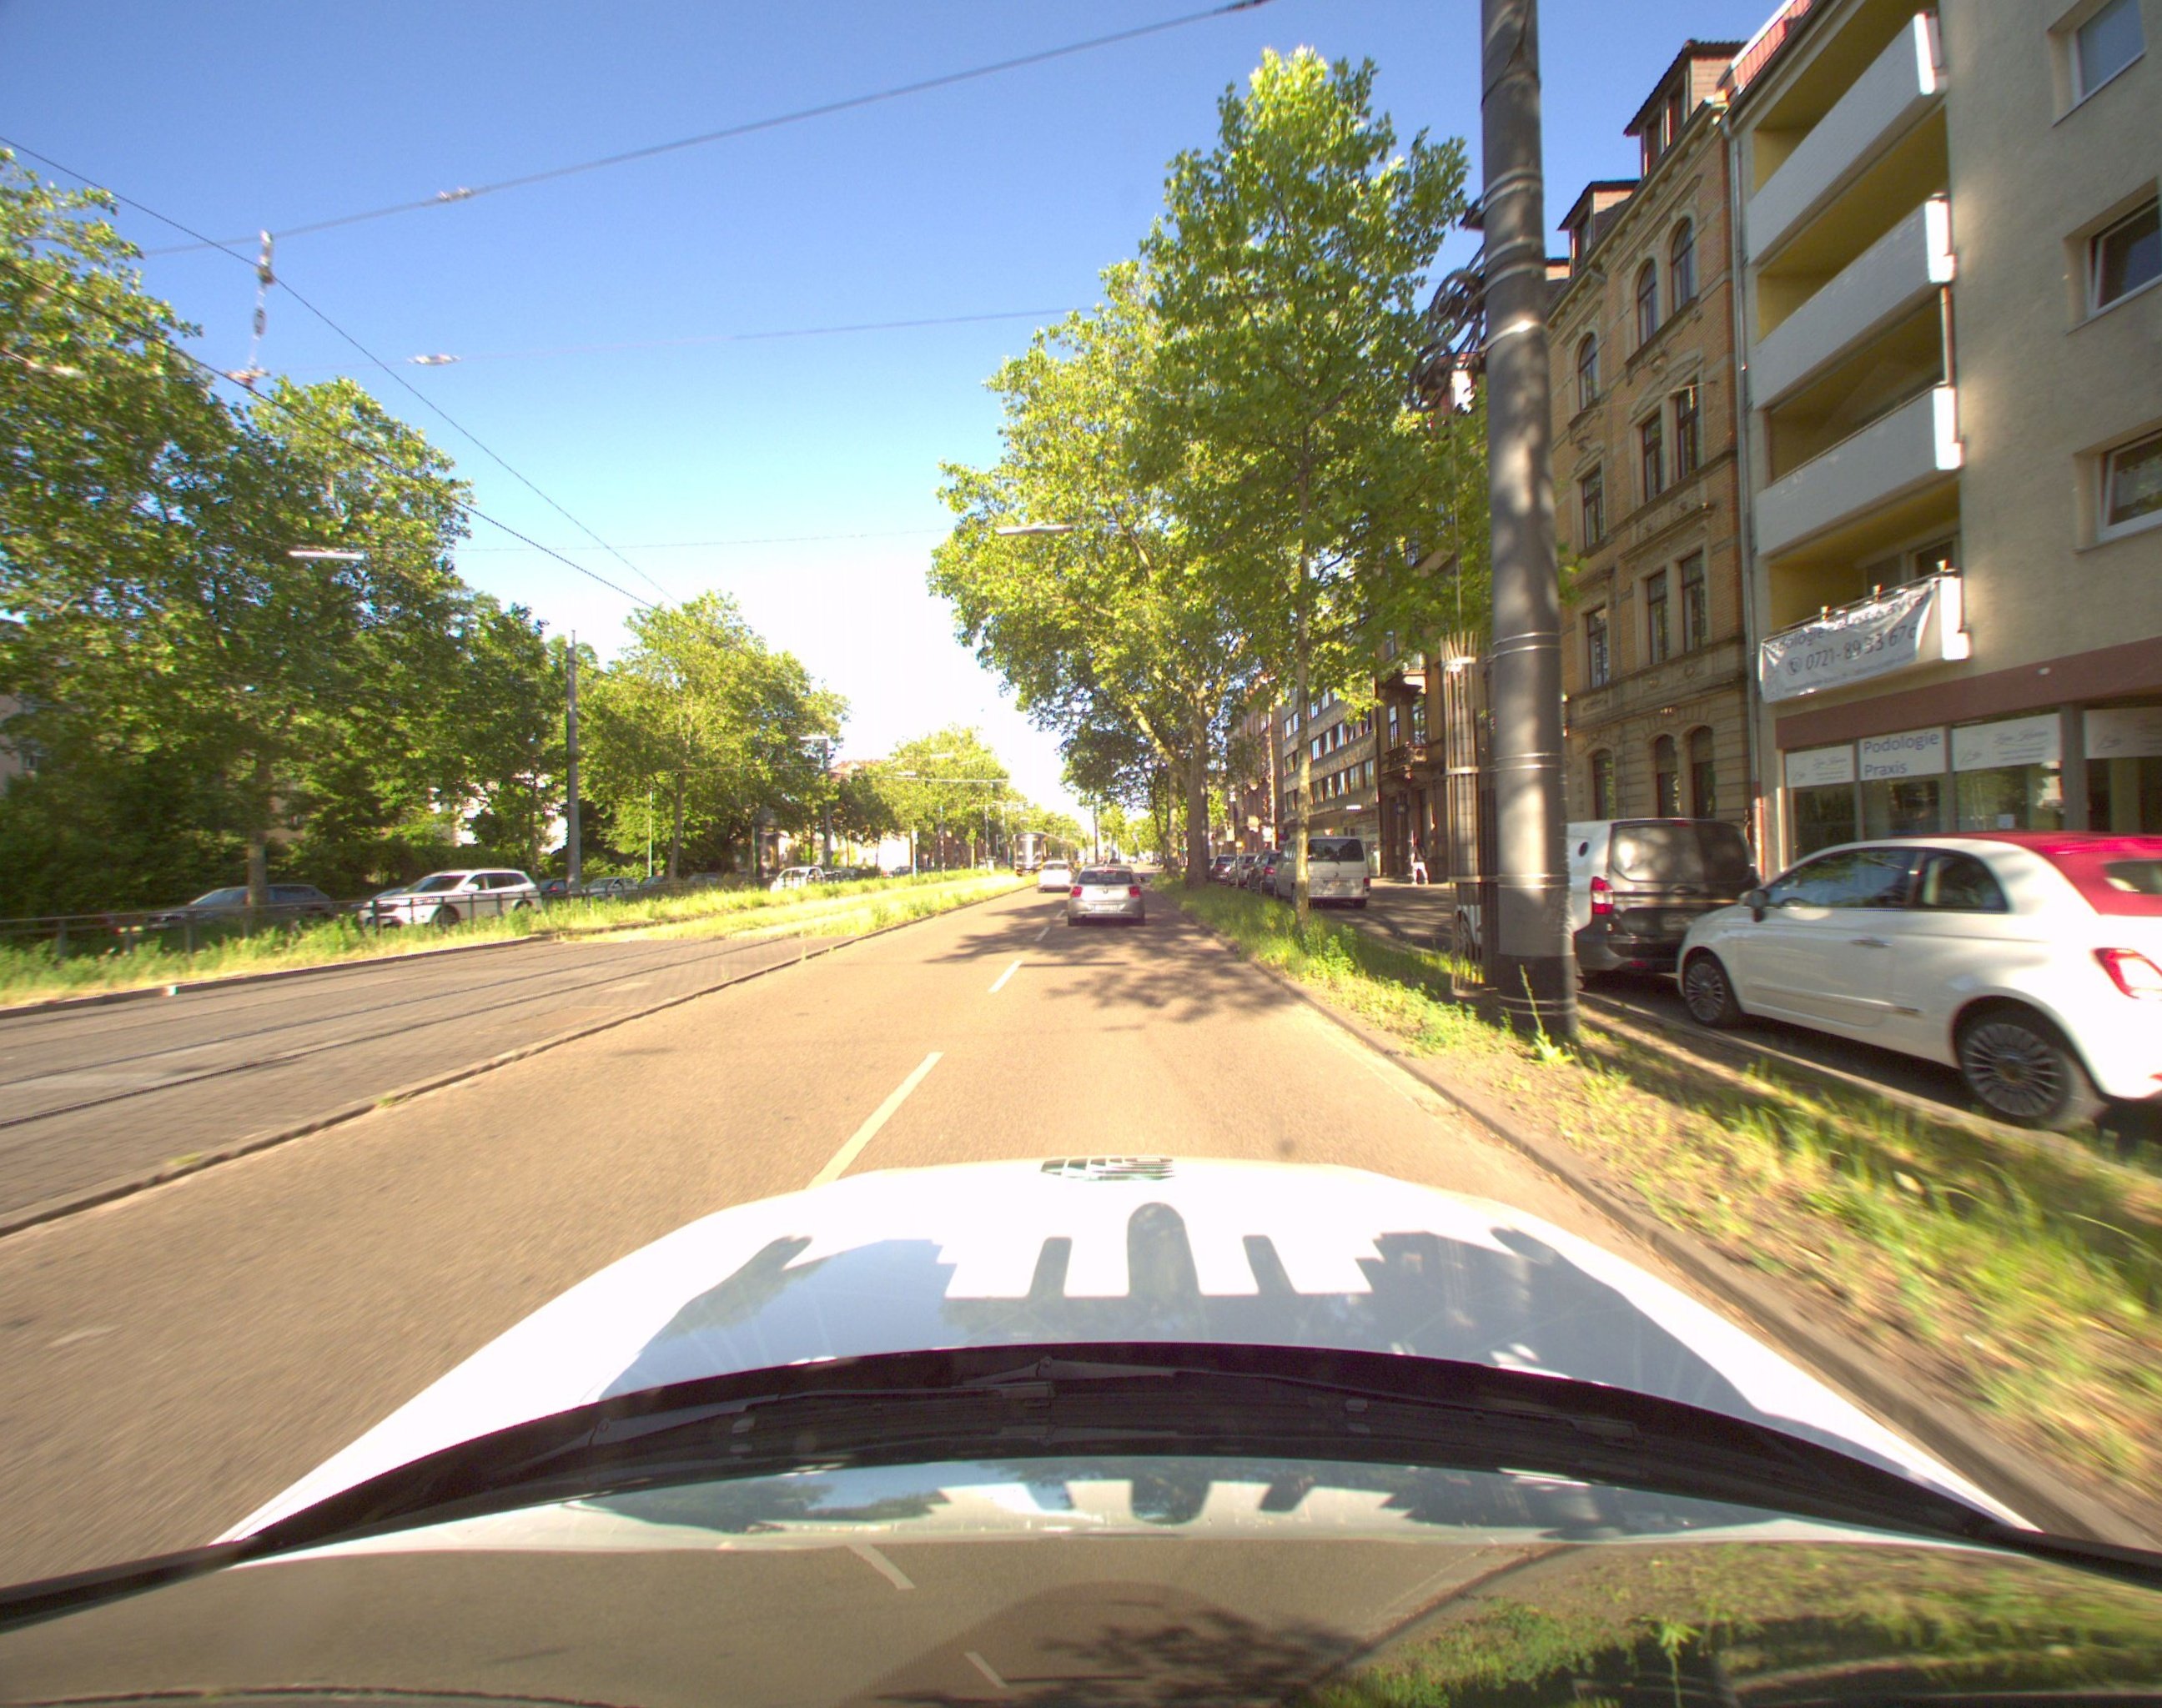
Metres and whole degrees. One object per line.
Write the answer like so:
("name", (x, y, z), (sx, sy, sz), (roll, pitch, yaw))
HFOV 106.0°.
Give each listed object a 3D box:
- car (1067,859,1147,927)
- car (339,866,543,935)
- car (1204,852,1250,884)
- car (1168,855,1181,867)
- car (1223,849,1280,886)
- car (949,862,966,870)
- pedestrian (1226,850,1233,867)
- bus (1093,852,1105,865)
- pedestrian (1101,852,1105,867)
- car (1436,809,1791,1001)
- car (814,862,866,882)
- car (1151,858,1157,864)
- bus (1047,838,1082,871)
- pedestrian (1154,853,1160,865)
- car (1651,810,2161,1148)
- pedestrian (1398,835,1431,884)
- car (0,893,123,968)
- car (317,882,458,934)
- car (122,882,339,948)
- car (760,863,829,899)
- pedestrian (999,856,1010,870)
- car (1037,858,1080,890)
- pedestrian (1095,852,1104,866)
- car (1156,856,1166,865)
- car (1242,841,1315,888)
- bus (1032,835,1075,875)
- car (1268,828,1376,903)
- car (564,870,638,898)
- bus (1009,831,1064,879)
("car", (0.670, 0.874, 19.934), (1.755, 1.432, 4.003), (0, 0, 3))
("car", (-17.419, 1.186, 22.539), (1.878, 1.619, 4.601), (0, 0, 2))
("car", (7.247, 0.654, 40.839), (1.797, 1.490, 4.925), (0, 0, 5))
("car", (15.588, 1.097, 135.666), (1.747, 1.965, 4.741), (-1, 0, 3))
("car", (7.244, 0.565, 35.002), (1.670, 1.466, 4.672), (0, 0, 2))
("car", (-18.225, 1.738, 120.452), (1.785, 1.178, 4.003), (0, 0, 3))
("pedestrian", (15.949, 0.498, 87.259), (0.463, 1.810, 0.779), (0, 0, 35))
("bus", (5.315, 1.133, 239.777), (2.738, 3.625, 18.866), (-1, 0, 4))
("pedestrian", (2.769, 0.650, 103.299), (0.449, 1.903, 0.584), (-1, -1, -4))
("car", (5.549, 0.424, 9.193), (1.617, 1.668, 4.148), (0, 0, 5))
("car", (-15.760, 1.162, 53.535), (1.682, 1.135, 4.712), (0, 0, 5))
("car", (20.111, 2.018, 224.595), (1.693, 1.534, 3.720), (0, 0, 4))
("bus", (-1.742, 0.083, 91.130), (2.856, 3.444, 11.622), (-2, 0, 4))
("pedestrian", (13.312, 0.878, 142.537), (0.833, 2.013, 0.650), (0, 0, 10))
("car", (5.495, 0.539, 5.252), (1.504, 1.480, 3.498), (0, 0, 6))
("pedestrian", (12.936, 0.205, 31.611), (0.995, 1.840, 0.716), (-2, -1, 5))
("car", (-26.575, 1.876, 19.722), (1.986, 1.622, 4.001), (0, 0, 1))
("car", (-26.086, 1.980, 30.839), (1.814, 1.683, 4.002), (0, 0, 2))
("car", (-26.215, 1.811, 25.389), (1.987, 1.683, 4.515), (0, 0, 1))
("car", (-13.644, 1.244, 39.022), (1.838, 1.530, 3.876), (0, 0, 1))
("pedestrian", (-9.001, 1.043, 96.044), (1.174, 1.643, 0.891), (-1, -1, -4))
("car", (-0.982, 0.883, 37.654), (1.639, 1.363, 3.764), (0, 0, 4))
("pedestrian", (2.469, 0.688, 109.292), (1.068, 1.916, 1.127), (-1, 0, 1))
("car", (14.828, 1.223, 151.101), (1.685, 1.658, 4.043), (-2, 1, 3))
("car", (6.662, 0.327, 27.896), (1.697, 1.502, 4.362), (0, 0, 3))
("bus", (-2.509, 0.104, 79.119), (2.856, 3.444, 12.226), (-2, 0, 4))
("car", (6.378, 0.262, 22.098), (1.856, 1.815, 4.805), (0, 0, 4))
("car", (-24.829, 1.538, 42.253), (1.561, 1.312, 3.507), (0, 0, 3))
("bus", (-3.398, 0.075, 66.393), (2.856, 3.444, 13.230), (-2, 0, 4))
